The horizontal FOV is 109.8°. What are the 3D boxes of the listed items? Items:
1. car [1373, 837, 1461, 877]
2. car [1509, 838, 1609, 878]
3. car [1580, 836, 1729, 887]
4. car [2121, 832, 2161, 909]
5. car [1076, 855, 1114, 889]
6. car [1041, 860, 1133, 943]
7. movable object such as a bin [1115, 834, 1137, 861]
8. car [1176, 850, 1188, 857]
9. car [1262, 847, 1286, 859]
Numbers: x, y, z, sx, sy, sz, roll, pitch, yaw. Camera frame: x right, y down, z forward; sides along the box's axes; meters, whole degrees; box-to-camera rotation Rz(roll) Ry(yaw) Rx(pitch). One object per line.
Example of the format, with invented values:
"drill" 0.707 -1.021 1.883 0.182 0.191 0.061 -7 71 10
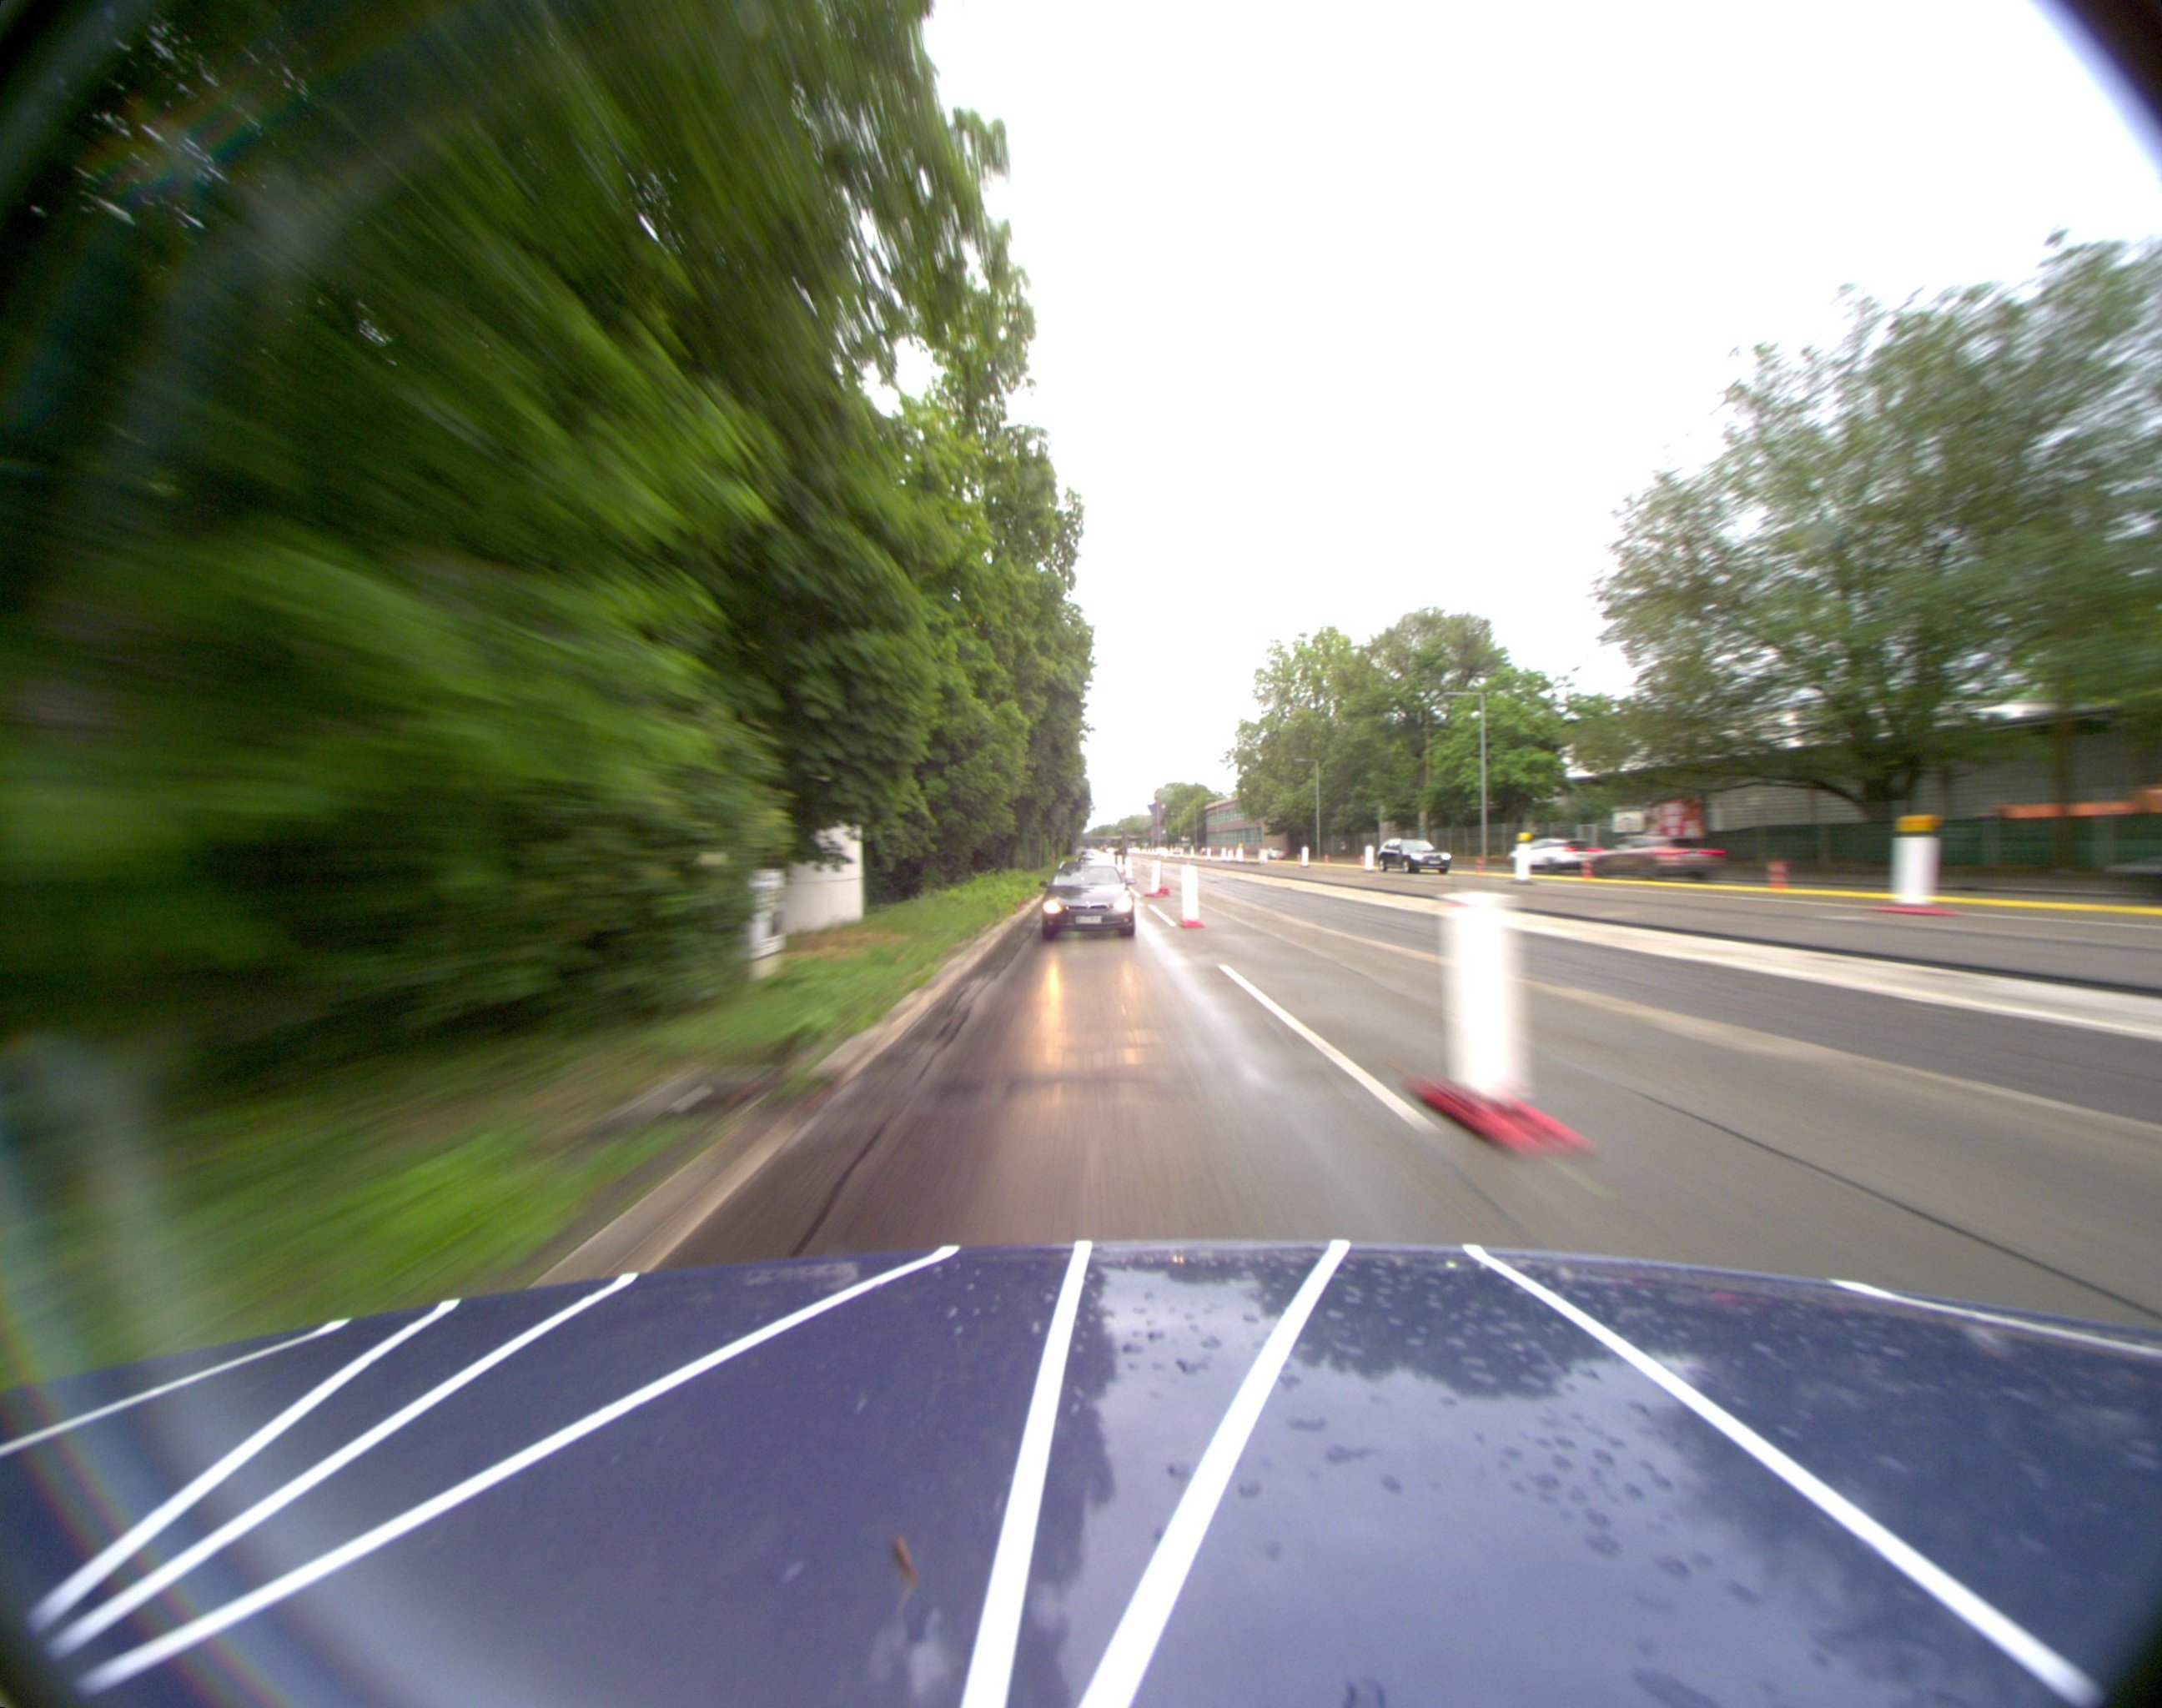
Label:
"car" 15.762 0.134 35.957 1.998 1.696 4.984 1 0 1
"car" 21.741 0.157 34.816 1.863 1.696 4.364 1 1 1
"car" 19.682 0.212 26.356 1.863 1.610 4.364 1 1 1
"car" 21.354 0.337 13.041 1.863 1.467 3.732 1 1 1
"car" 0.710 0.856 38.099 1.742 1.454 4.458 -2 1 1
"car" 0.153 0.943 16.947 1.742 1.454 4.458 -2 1 1
"movable object such as a bin" 5.269 -0.754 89.883 1.999 3.084 5.622 -2 1 -2
"car" 20.848 -0.166 157.336 1.841 1.426 4.148 -2 1 1
"car" 22.090 -0.111 87.054 1.671 1.308 4.454 1 1 1
